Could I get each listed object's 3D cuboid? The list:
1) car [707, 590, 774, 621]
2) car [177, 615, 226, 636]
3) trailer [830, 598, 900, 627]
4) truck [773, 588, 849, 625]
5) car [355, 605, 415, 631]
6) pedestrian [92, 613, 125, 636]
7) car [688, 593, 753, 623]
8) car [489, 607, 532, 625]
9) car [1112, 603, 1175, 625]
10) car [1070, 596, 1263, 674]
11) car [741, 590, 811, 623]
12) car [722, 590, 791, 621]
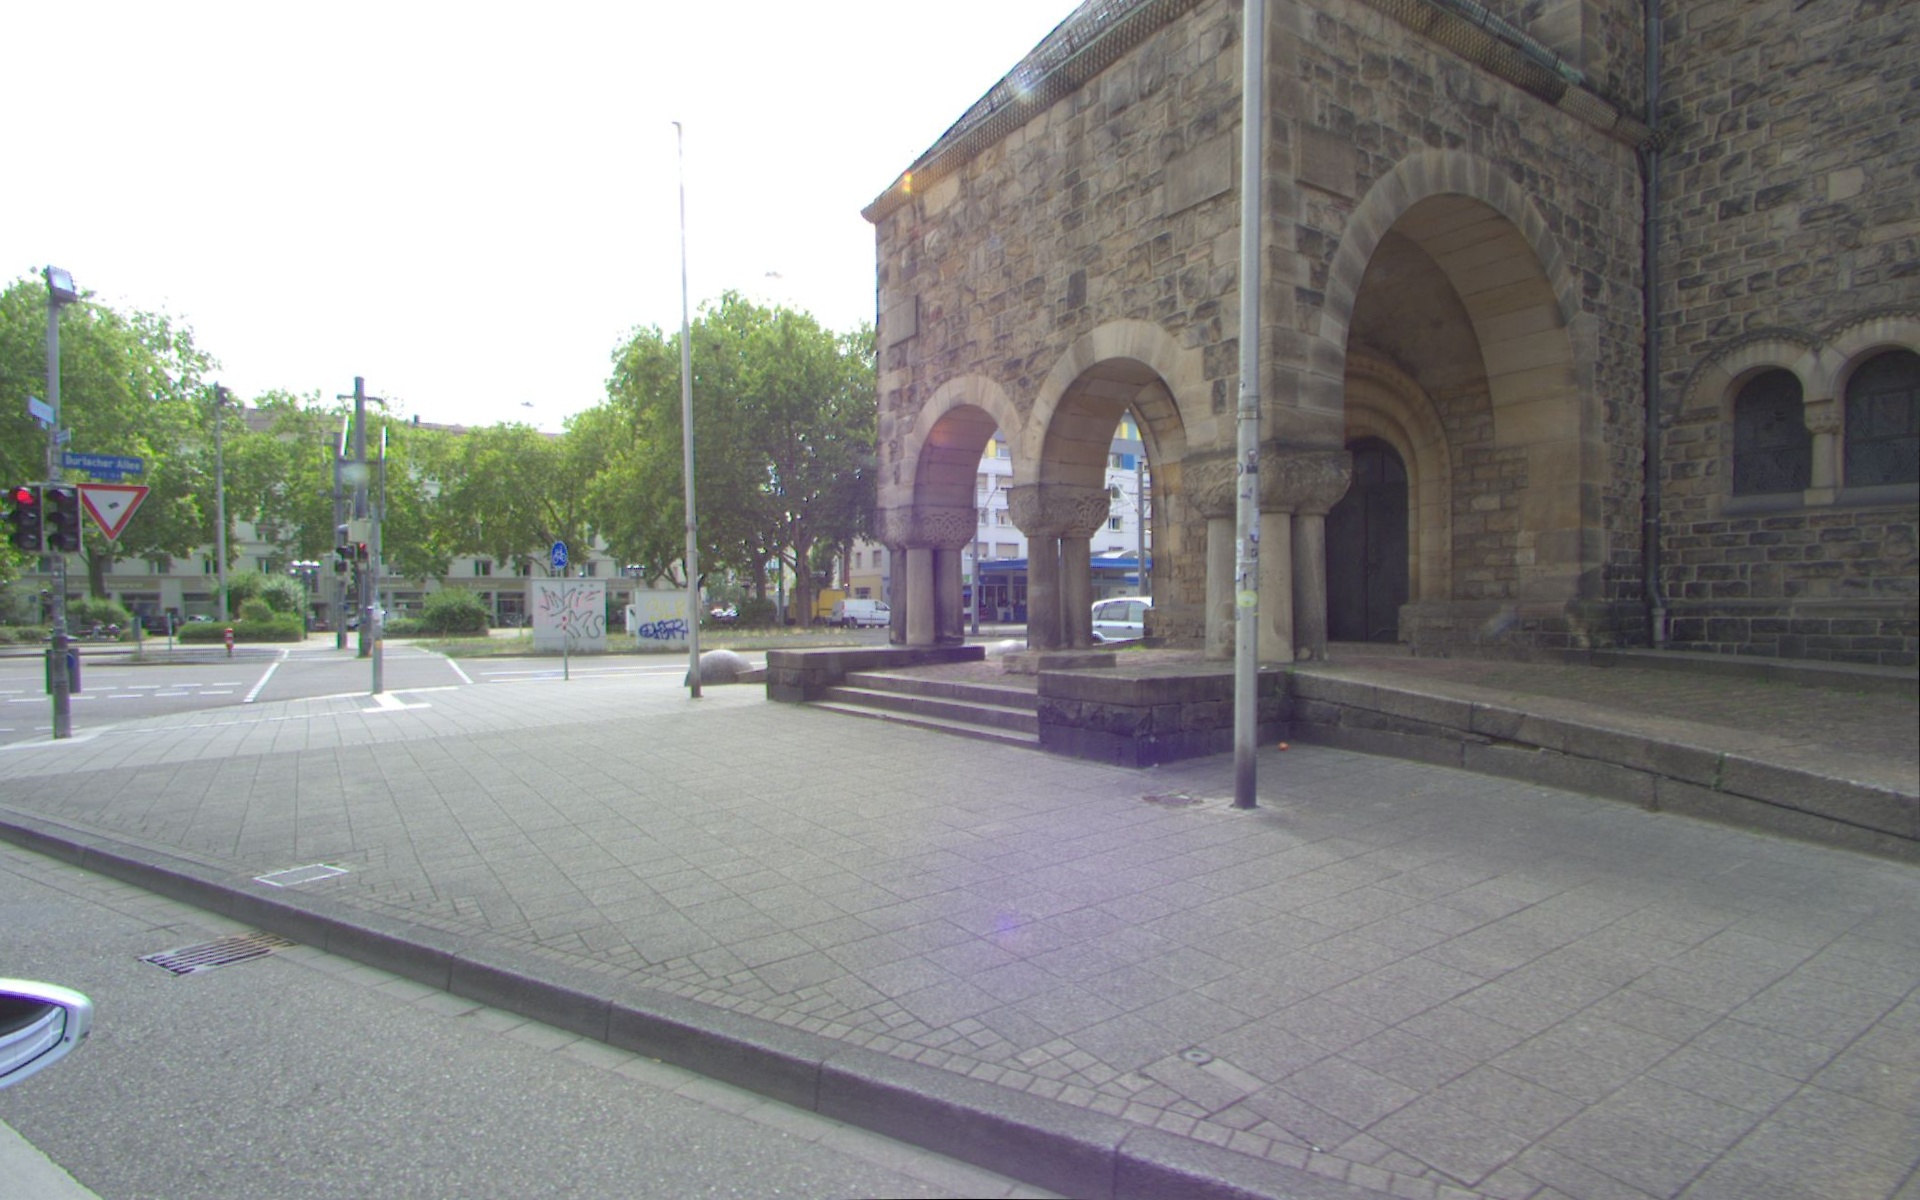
[{"bbox_3d":[-19.402,0.476,88.532,5.269,2.618,2.482,0,-1,-36],"label":"car"},{"bbox_3d":[-57.164,1.883,75.450,3.949,1.523,1.986,-1,0,37],"label":"car"},{"bbox_3d":[-6.433,0.826,67.818,4.377,1.951,1.843,0,0,-33],"label":"trailer"},{"bbox_3d":[-11.037,0.468,73.806,3.040,2.612,6.468,0,0,-34],"label":"truck"},{"bbox_3d":[-44.528,1.368,77.537,3.946,1.908,1.846,0,0,-34],"label":"car"},{"bbox_3d":[-48.236,1.405,56.699,1.422,1.252,1.087,-1,1,37],"label":"pedestrian"},{"bbox_3d":[-22.199,0.758,92.800,5.269,2.618,2.482,0,-1,-36],"label":"car"},{"bbox_3d":[-39.497,1.384,87.935,3.949,1.523,1.760,-1,0,37],"label":"car"},{"bbox_3d":[13.966,1.071,76.331,4.554,1.535,1.985,0,-1,-31],"label":"car"},{"bbox_3d":[4.493,0.716,22.294,1.992,1.563,4.002,0,0,-33],"label":"car"},{"bbox_3d":[-15.194,0.565,82.698,5.269,2.618,2.165,0,-1,-36],"label":"car"},{"bbox_3d":[-17.498,0.474,86.304,5.269,2.618,2.482,0,-1,-36],"label":"car"}]
